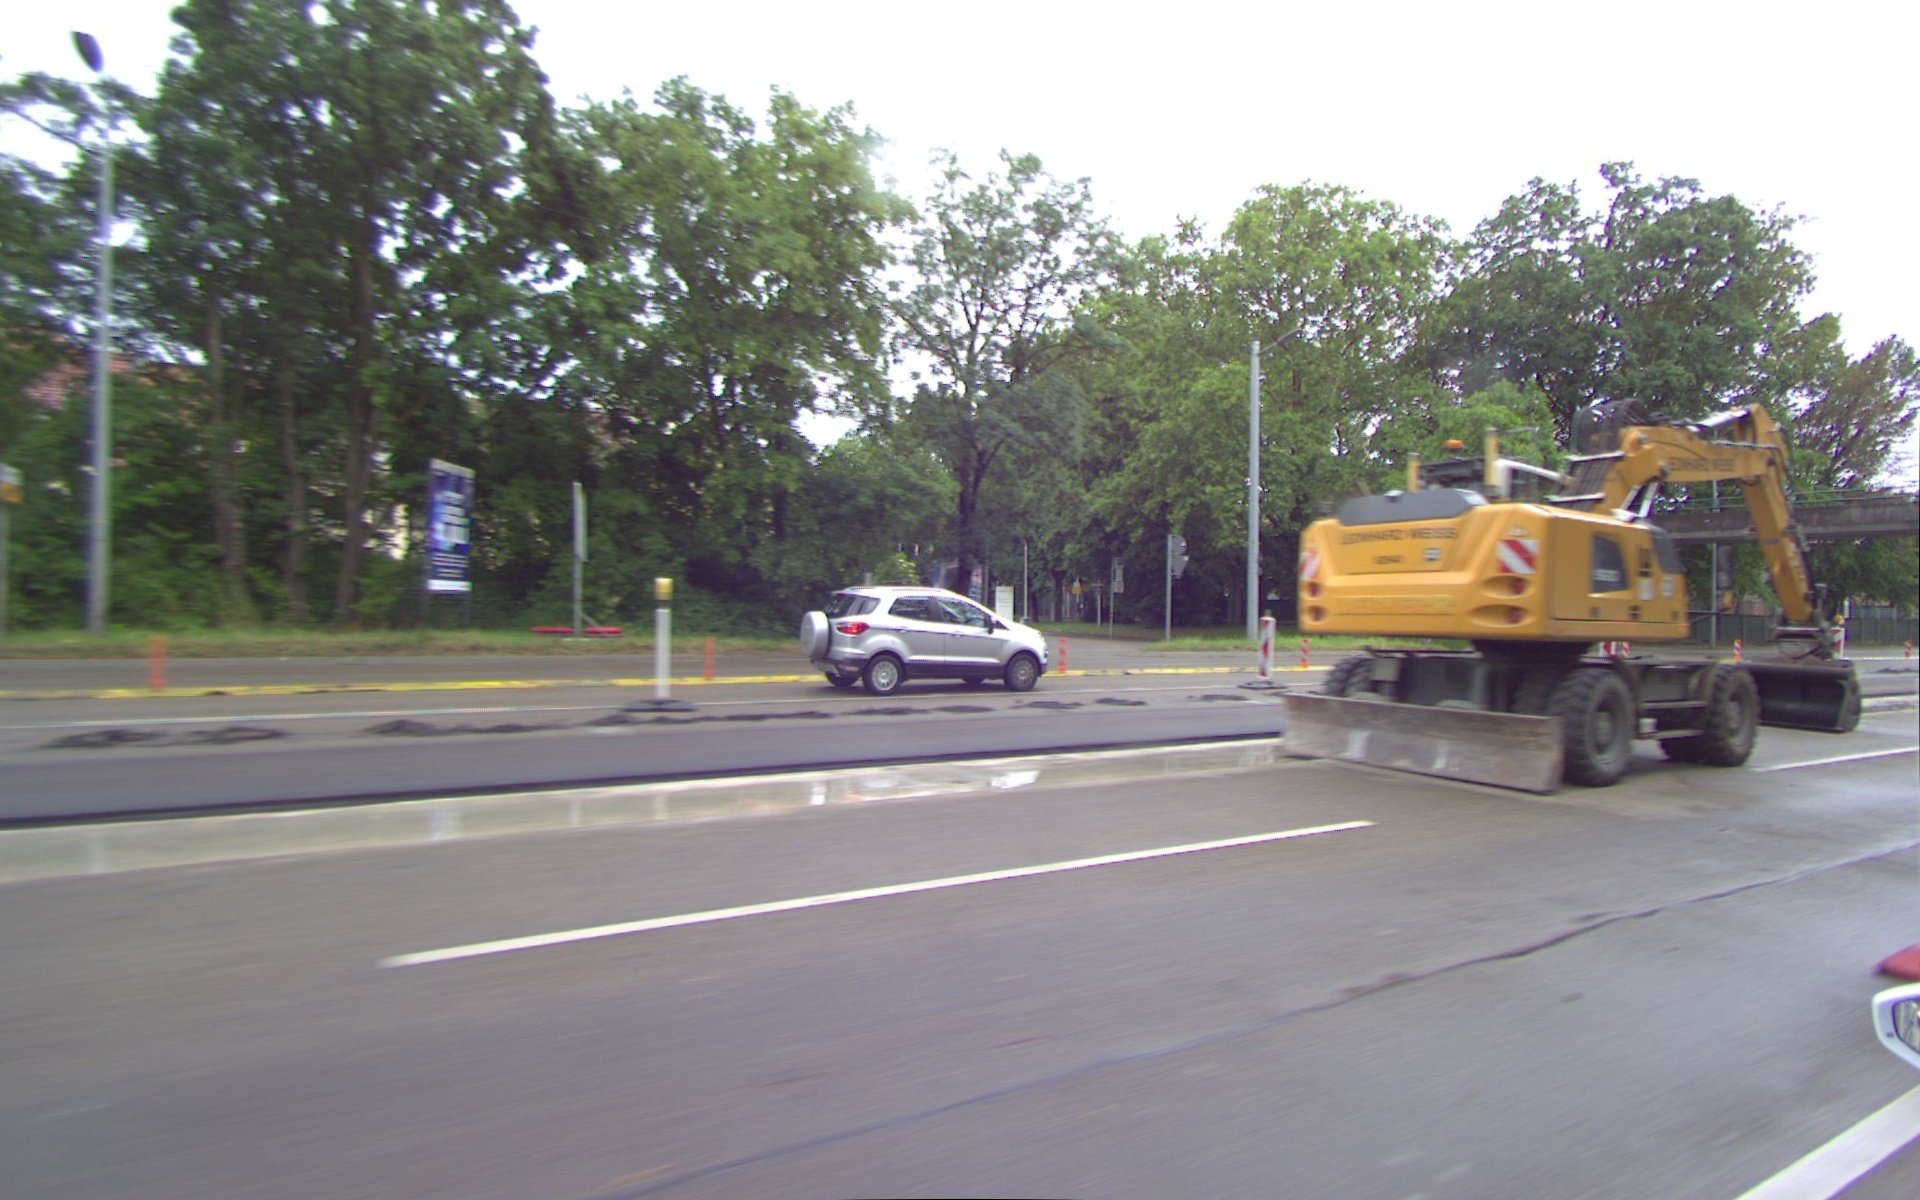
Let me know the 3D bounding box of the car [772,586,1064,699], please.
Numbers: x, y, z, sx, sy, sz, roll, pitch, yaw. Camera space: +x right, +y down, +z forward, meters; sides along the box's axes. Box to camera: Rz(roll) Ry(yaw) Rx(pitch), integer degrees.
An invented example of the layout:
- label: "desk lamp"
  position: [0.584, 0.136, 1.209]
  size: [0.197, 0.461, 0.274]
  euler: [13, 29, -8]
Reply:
- label: "car"
  position: [-0.642, 0.632, 16.199]
  size: [4.312, 1.585, 1.879]
  euler: [1, 1, -30]

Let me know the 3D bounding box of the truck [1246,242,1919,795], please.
- label: "truck"
  position: [8.145, -0.538, 12.074]
  size: [10.646, 4.316, 2.879]
  euler: [1, 0, -35]
